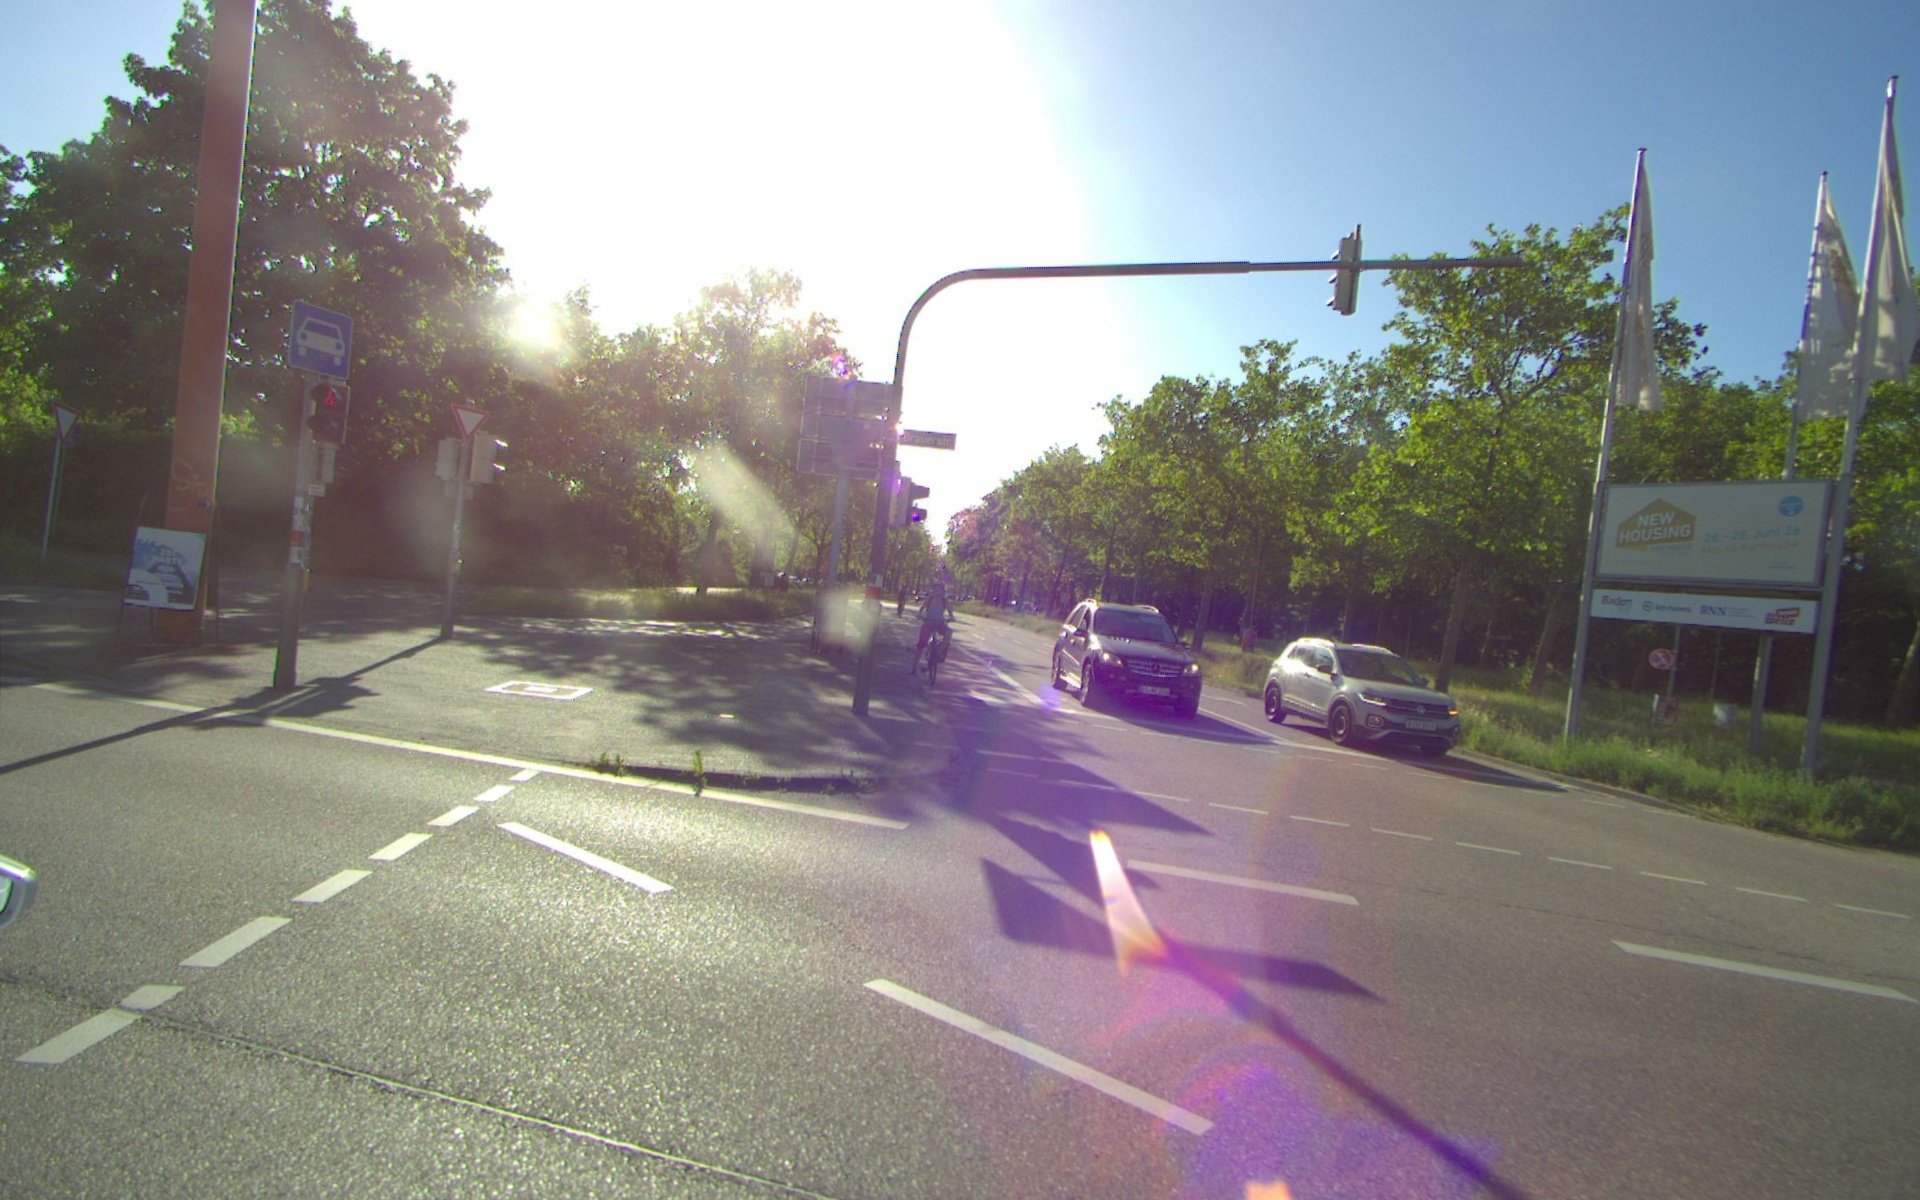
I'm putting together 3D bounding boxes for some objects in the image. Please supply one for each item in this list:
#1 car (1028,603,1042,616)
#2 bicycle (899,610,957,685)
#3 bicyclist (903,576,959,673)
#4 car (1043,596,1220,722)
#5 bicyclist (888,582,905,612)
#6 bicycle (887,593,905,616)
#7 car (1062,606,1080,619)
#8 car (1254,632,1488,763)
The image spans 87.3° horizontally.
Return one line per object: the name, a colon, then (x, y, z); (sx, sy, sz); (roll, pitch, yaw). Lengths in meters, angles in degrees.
car: (11.678, 1.444, 156.600); (1.844, 1.646, 4.002); (8, -1, 2)
bicycle: (-0.530, 0.788, 17.546); (0.752, 1.105, 2.014); (6, 1, 2)
bicyclist: (-0.491, 0.417, 17.614); (0.747, 1.578, 0.980); (6, 2, 2)
car: (2.890, 0.927, 18.132); (1.874, 1.748, 4.648); (7, 0, -5)
bicyclist: (-3.349, -0.155, 53.259); (0.724, 1.455, 0.965); (6, 1, -1)
bicycle: (-3.387, 0.233, 53.268); (0.724, 1.105, 2.014); (6, 0, -1)
car: (13.536, 1.500, 123.199); (1.762, 1.405, 4.049); (8, 0, 3)
car: (6.600, 1.493, 16.713); (1.742, 1.558, 4.086); (7, 0, -6)
